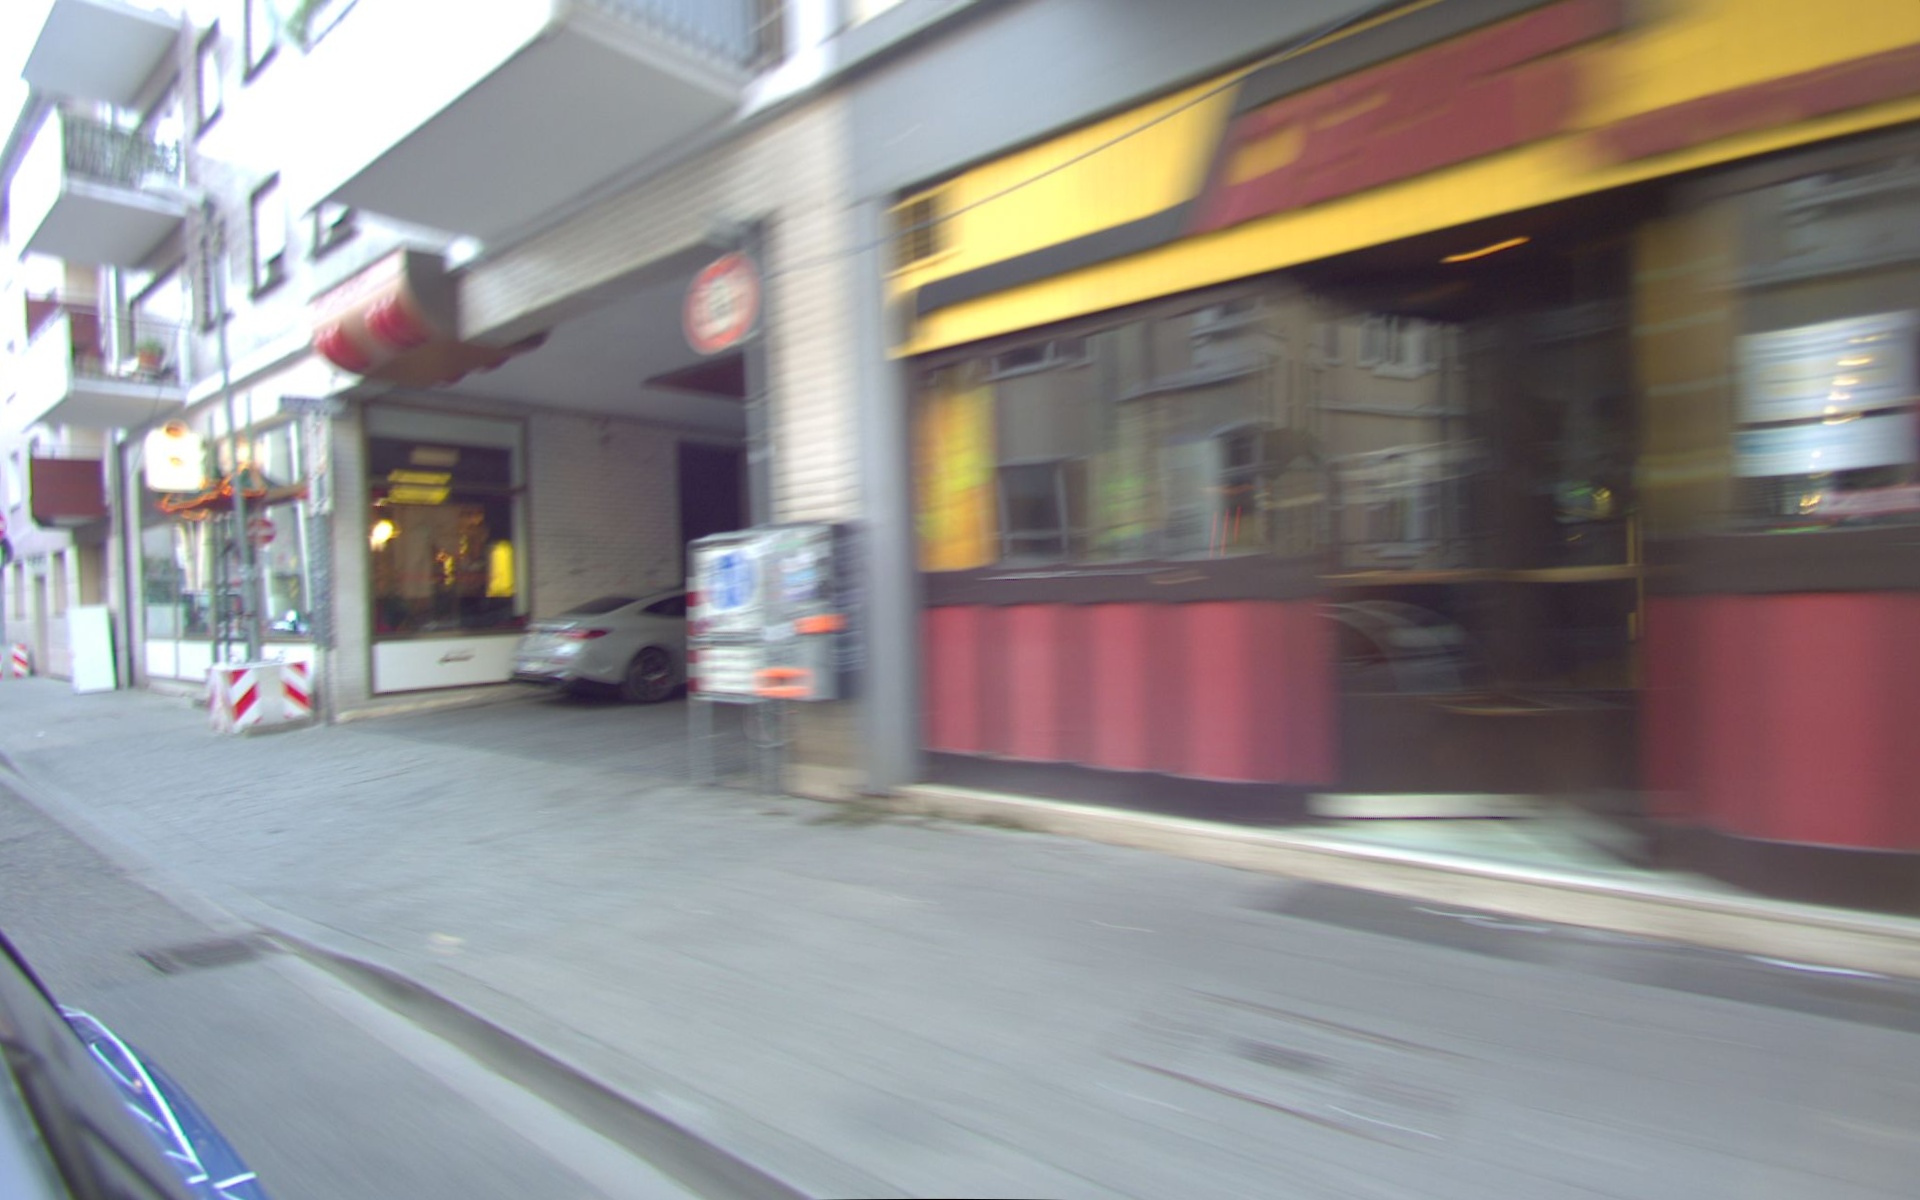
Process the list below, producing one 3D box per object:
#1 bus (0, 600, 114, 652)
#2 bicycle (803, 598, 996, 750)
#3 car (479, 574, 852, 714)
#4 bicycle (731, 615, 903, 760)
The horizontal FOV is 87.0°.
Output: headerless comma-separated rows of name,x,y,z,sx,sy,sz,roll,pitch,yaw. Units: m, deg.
bus,-64.385,1.722,66.921,3.914,3.350,12.394,0,0,33
bicycle,-0.547,0.582,8.467,1.791,1.148,0.423,-1,0,41
car,-3.747,0.465,13.558,2.067,1.474,4.389,-2,1,39
bicycle,-1.164,0.659,8.074,1.463,1.046,0.438,-1,2,39
